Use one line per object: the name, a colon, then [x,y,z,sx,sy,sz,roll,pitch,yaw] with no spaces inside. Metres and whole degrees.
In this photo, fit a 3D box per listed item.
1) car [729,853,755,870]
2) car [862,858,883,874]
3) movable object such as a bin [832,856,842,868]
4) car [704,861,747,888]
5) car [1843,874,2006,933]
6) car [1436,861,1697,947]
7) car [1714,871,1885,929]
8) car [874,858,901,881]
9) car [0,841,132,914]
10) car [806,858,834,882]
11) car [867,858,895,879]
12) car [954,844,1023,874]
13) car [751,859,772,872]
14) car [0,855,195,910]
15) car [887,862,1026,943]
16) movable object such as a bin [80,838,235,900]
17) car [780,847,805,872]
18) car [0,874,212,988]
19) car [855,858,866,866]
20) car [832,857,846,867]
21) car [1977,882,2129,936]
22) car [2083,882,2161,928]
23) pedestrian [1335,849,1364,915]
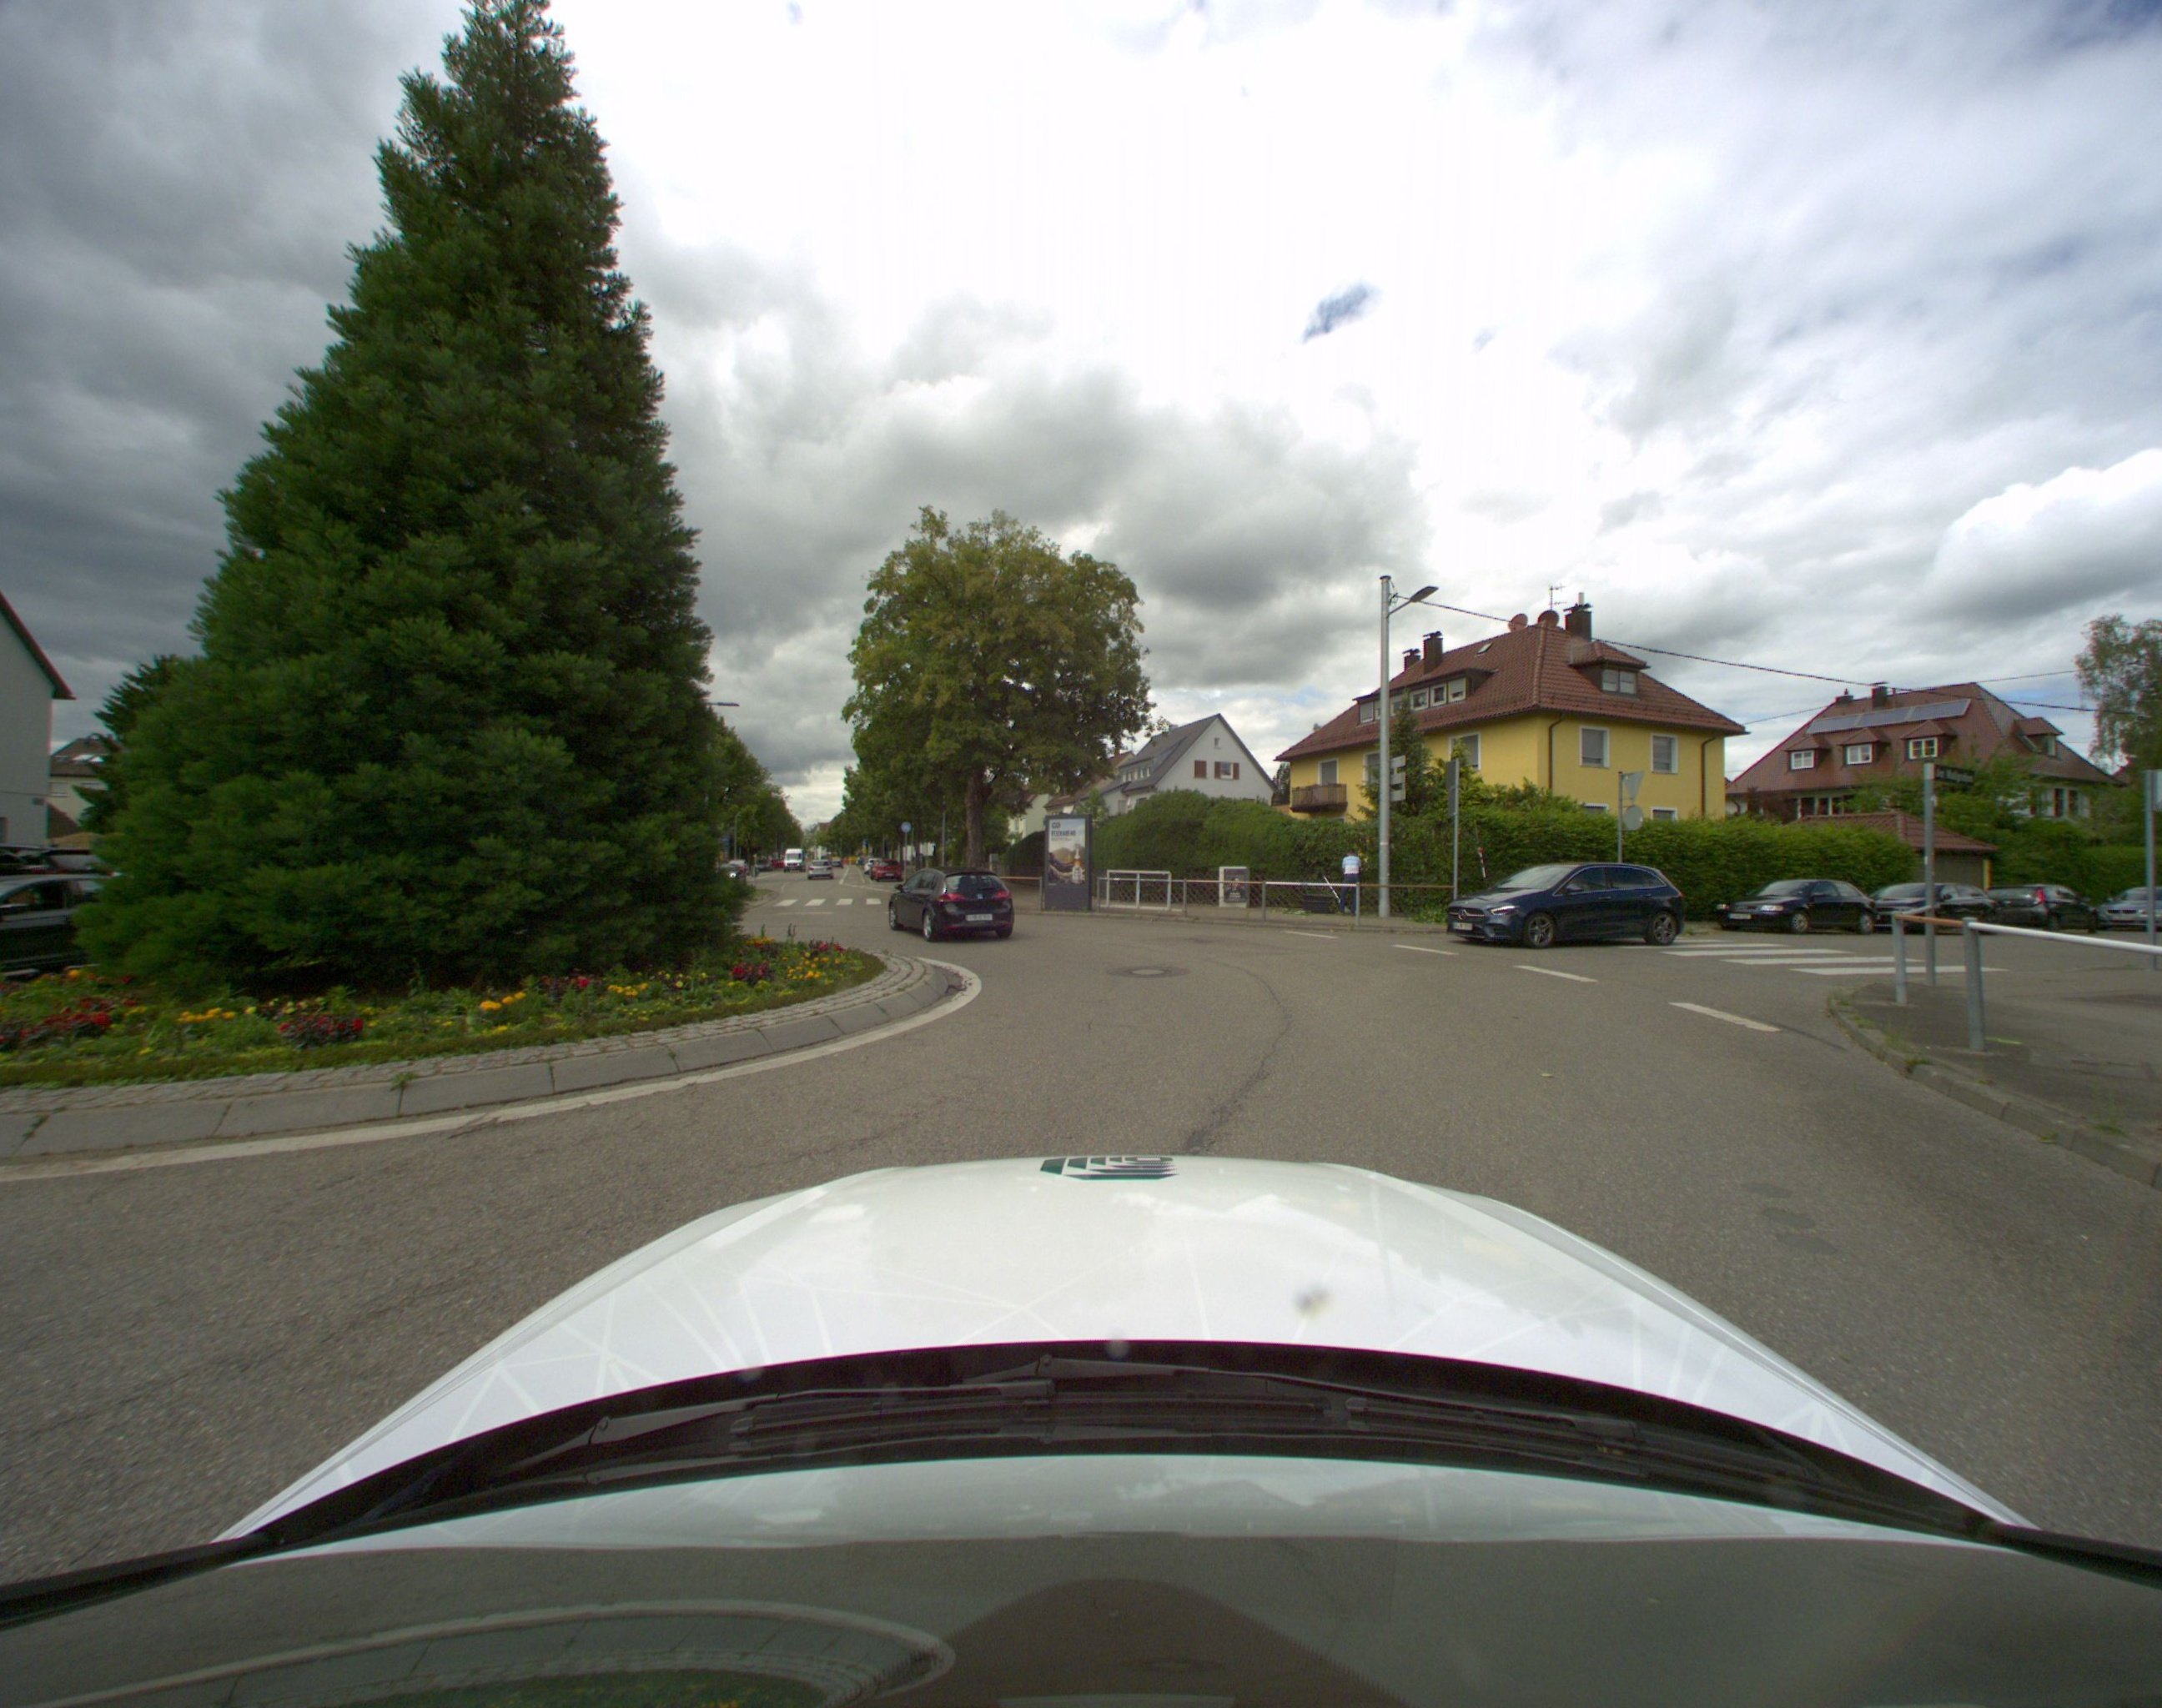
car: [-31.362,0.656,75.407,1.688,1.541,4.112,0,0,-14]
car: [-19.250,1.101,75.100,1.657,1.416,4.152,-2,0,-18]
movable object such as a bin: [-51.848,1.628,173.030,1.773,2.574,3.716,0,0,-19]
car: [-19.270,1.066,44.250,1.575,1.362,3.724,0,0,-14]
car: [22.873,1.297,22.099,3.852,1.403,1.542,0,0,-17]
car: [8.929,0.864,15.048,4.312,1.449,1.576,0,0,-14]
car: [18.279,1.159,20.736,3.782,1.348,1.542,2,-1,-17]
car: [-12.915,1.022,54.159,1.568,1.455,3.647,0,-1,-16]
car: [-25.861,0.554,19.312,3.926,1.662,1.845,1,-2,-16]
car: [-19.841,1.192,61.900,1.911,1.685,3.716,-1,0,-19]
car: [-14.654,1.035,59.508,1.657,1.416,4.152,-2,0,-18]
car: [-8.103,0.375,71.697,5.734,2.591,1.984,0,1,-21]
car: [-37.827,1.340,96.476,1.734,1.469,4.279,-1,0,-15]
car: [-26.891,0.751,21.784,3.926,1.402,1.737,1,-1,-16]
car: [-2.722,0.924,17.114,1.829,1.437,3.707,-1,0,-27]
movable object such as a bin: [-34.817,0.538,30.897,1.901,2.188,4.335,0,0,-18]
car: [-31.874,0.584,90.061,2.022,2.674,5.777,0,0,-14]
car: [-14.468,1.024,10.881,1.532,1.375,3.976,-2,0,-3]
car: [-38.893,1.374,143.545,1.710,1.454,4.589,-1,0,-17]
car: [-34.242,1.071,115.323,1.815,1.375,3.670,0,0,-18]
car: [28.735,1.576,24.085,3.852,1.403,1.542,0,0,-17]
car: [34.184,1.592,25.861,3.911,1.340,1.590,0,-3,-17]
pedestrian: [6.831,0.698,20.721,0.646,1.656,0.598,0,-1,25]
